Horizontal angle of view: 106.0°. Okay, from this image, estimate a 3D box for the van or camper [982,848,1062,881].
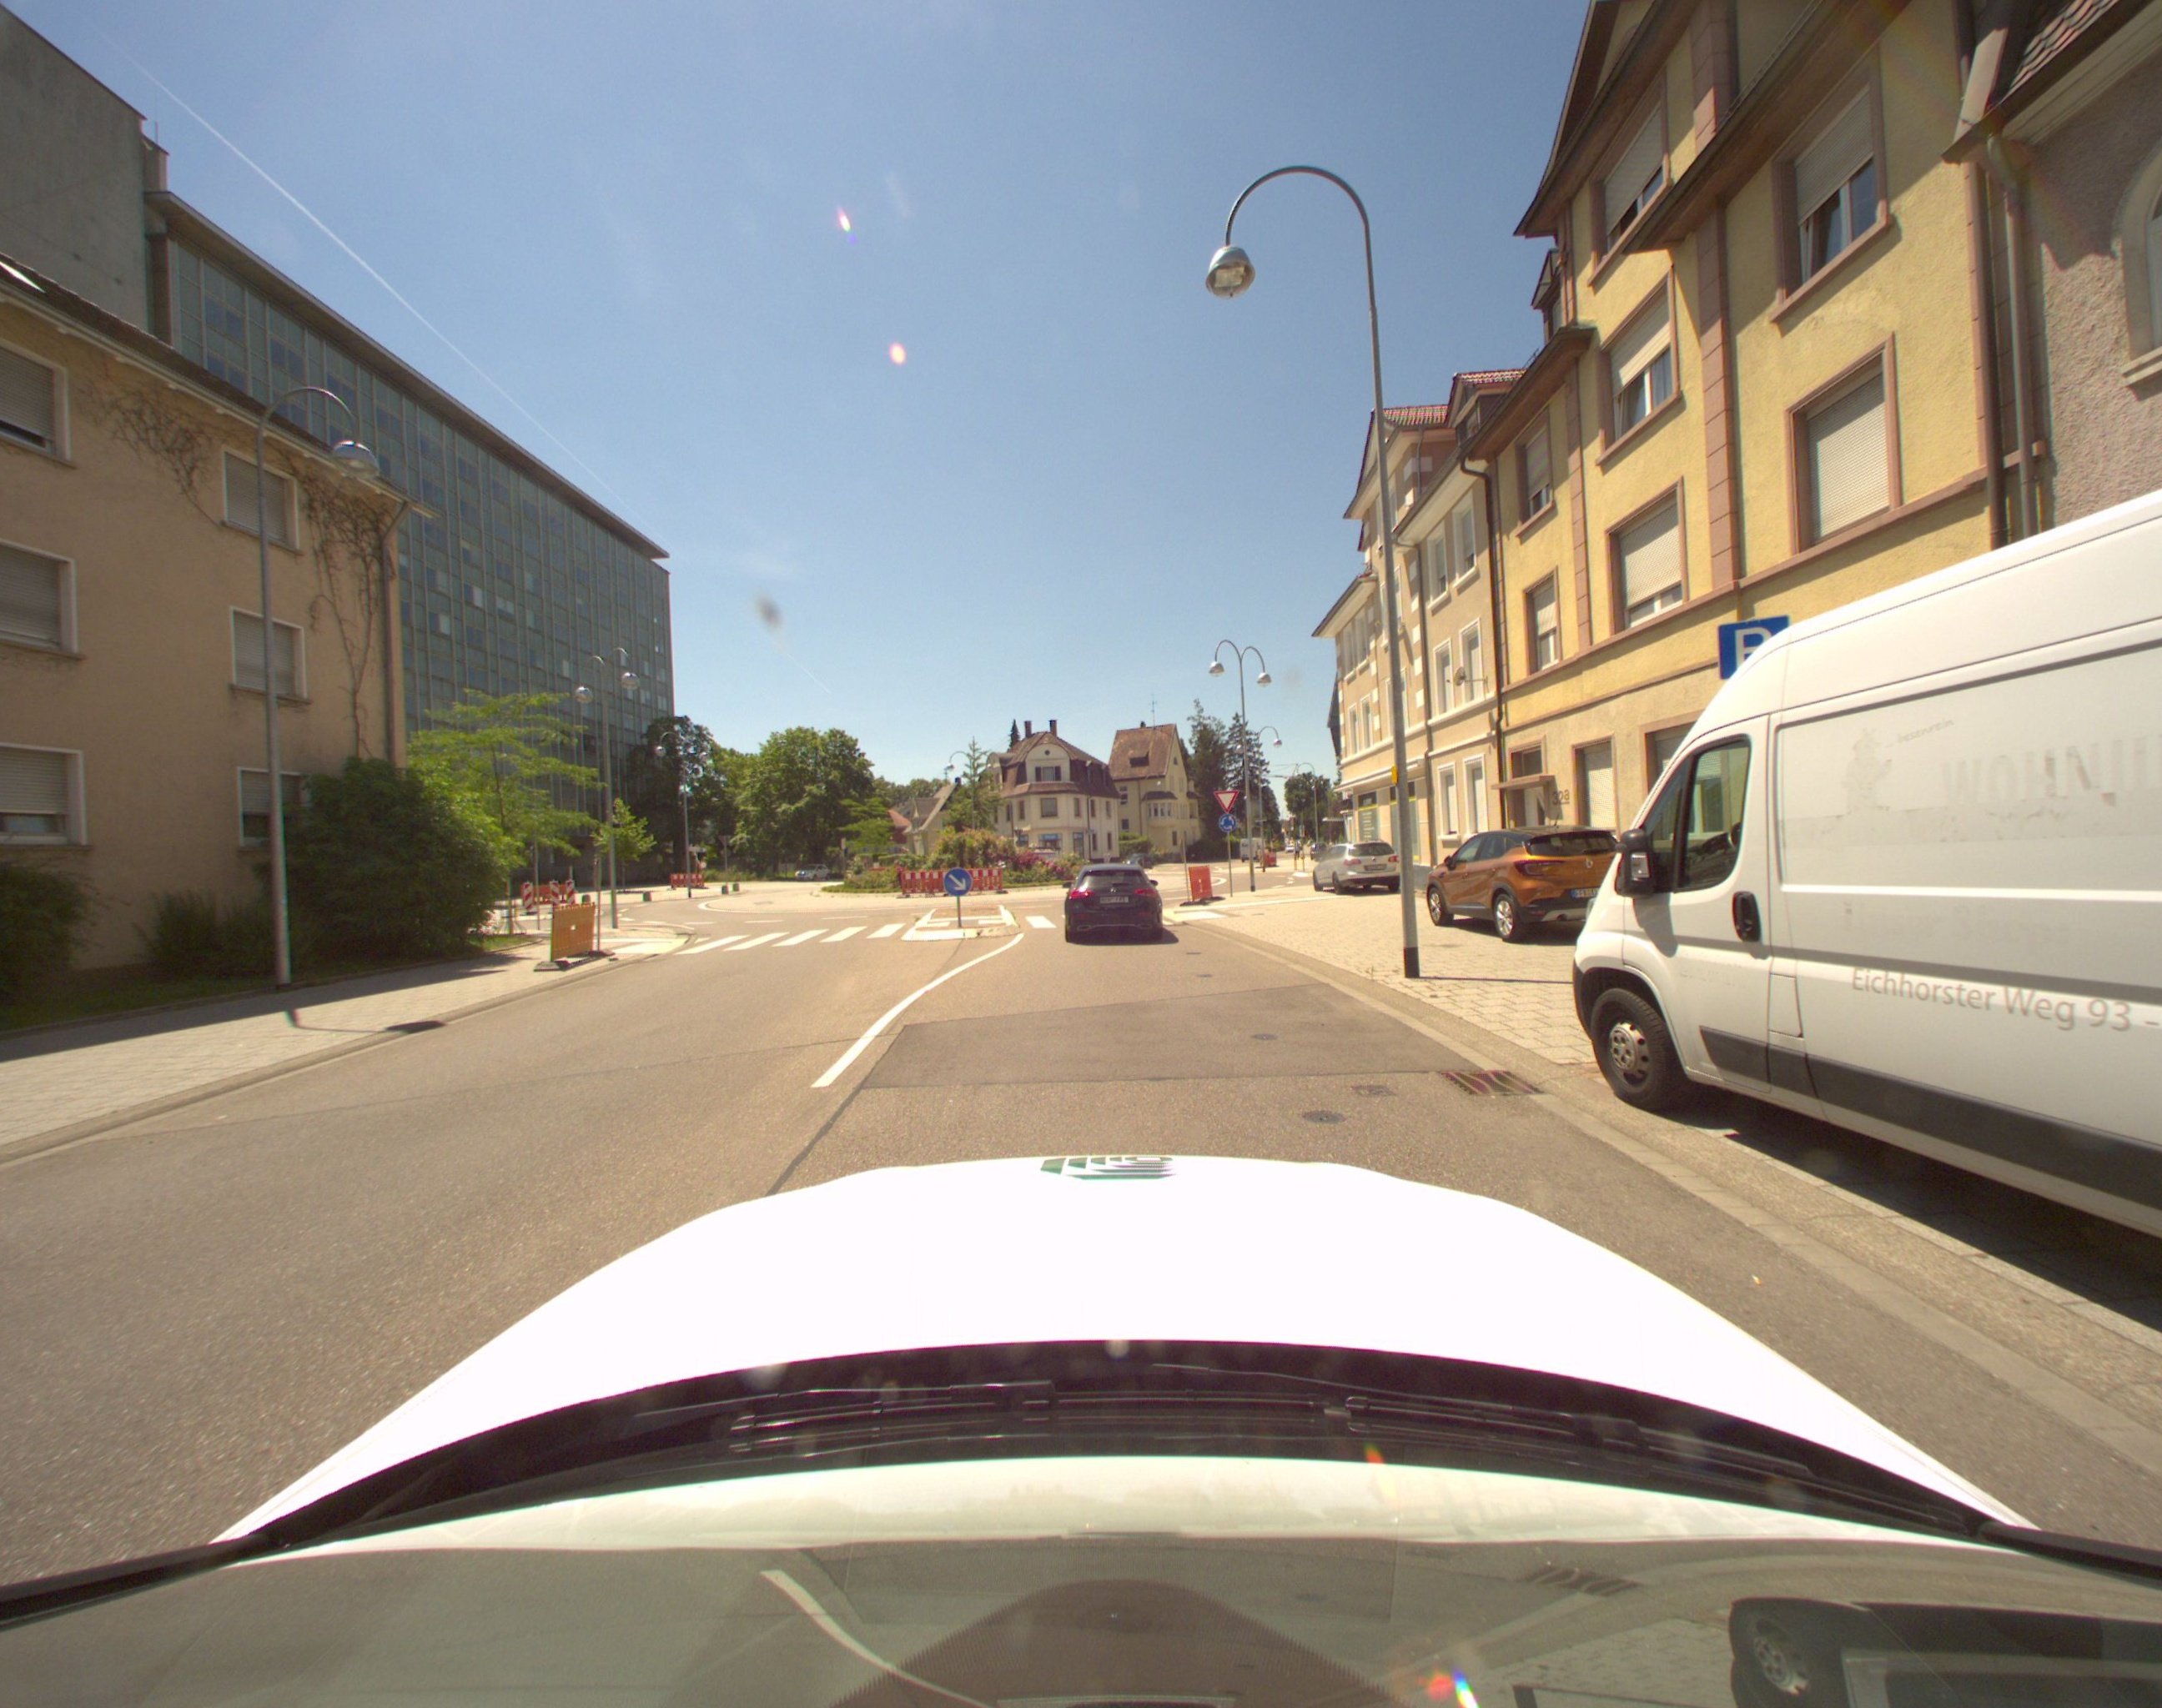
[{"bbox_3d":[-4.178,0.732,57.882,5.439,2.171,1.977,-2,-1,-38],"label":"van or camper"}]

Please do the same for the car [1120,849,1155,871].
[{"bbox_3d":[4.832,0.519,69.465,1.904,1.772,4.020,-1,0,20],"label":"car"}]

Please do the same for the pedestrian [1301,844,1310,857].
[{"bbox_3d":[23.008,-0.372,83.464,0.660,1.286,0.591,-6,-1,28],"label":"pedestrian"}]

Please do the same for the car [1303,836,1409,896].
[{"bbox_3d":[8.163,0.353,24.601,1.757,1.530,4.693,-4,-1,3],"label":"car"}]

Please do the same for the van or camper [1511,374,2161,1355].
[{"bbox_3d":[3.935,-0.006,2.539,2.156,2.588,5.768,-4,0,2],"label":"van or camper"}]

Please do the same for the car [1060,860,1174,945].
[{"bbox_3d":[0.664,0.869,16.203,1.946,1.427,4.000,-2,-1,1],"label":"car"}]

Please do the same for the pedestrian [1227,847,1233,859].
[{"bbox_3d":[19.144,-0.164,104.503,0.518,1.509,0.476,-3,0,26],"label":"pedestrian"}]

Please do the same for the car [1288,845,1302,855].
[{"bbox_3d":[38.314,-0.678,145.563,1.977,1.651,4.020,-2,0,19],"label":"car"}]

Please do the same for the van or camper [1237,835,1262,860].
[{"bbox_3d":[18.419,-0.686,88.937,2.188,2.610,4.019,-2,0,19],"label":"van or camper"}]

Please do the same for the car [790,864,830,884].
[{"bbox_3d":[-23.984,1.792,72.197,1.774,1.597,3.929,-2,-3,9],"label":"car"}]

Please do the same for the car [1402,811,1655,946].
[{"bbox_3d":[6.687,0.321,12.795,1.666,1.619,4.367,-5,0,3],"label":"car"}]

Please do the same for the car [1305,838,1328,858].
[{"bbox_3d":[21.095,-0.568,72.853,1.626,1.507,3.582,-6,-1,20],"label":"car"}]
